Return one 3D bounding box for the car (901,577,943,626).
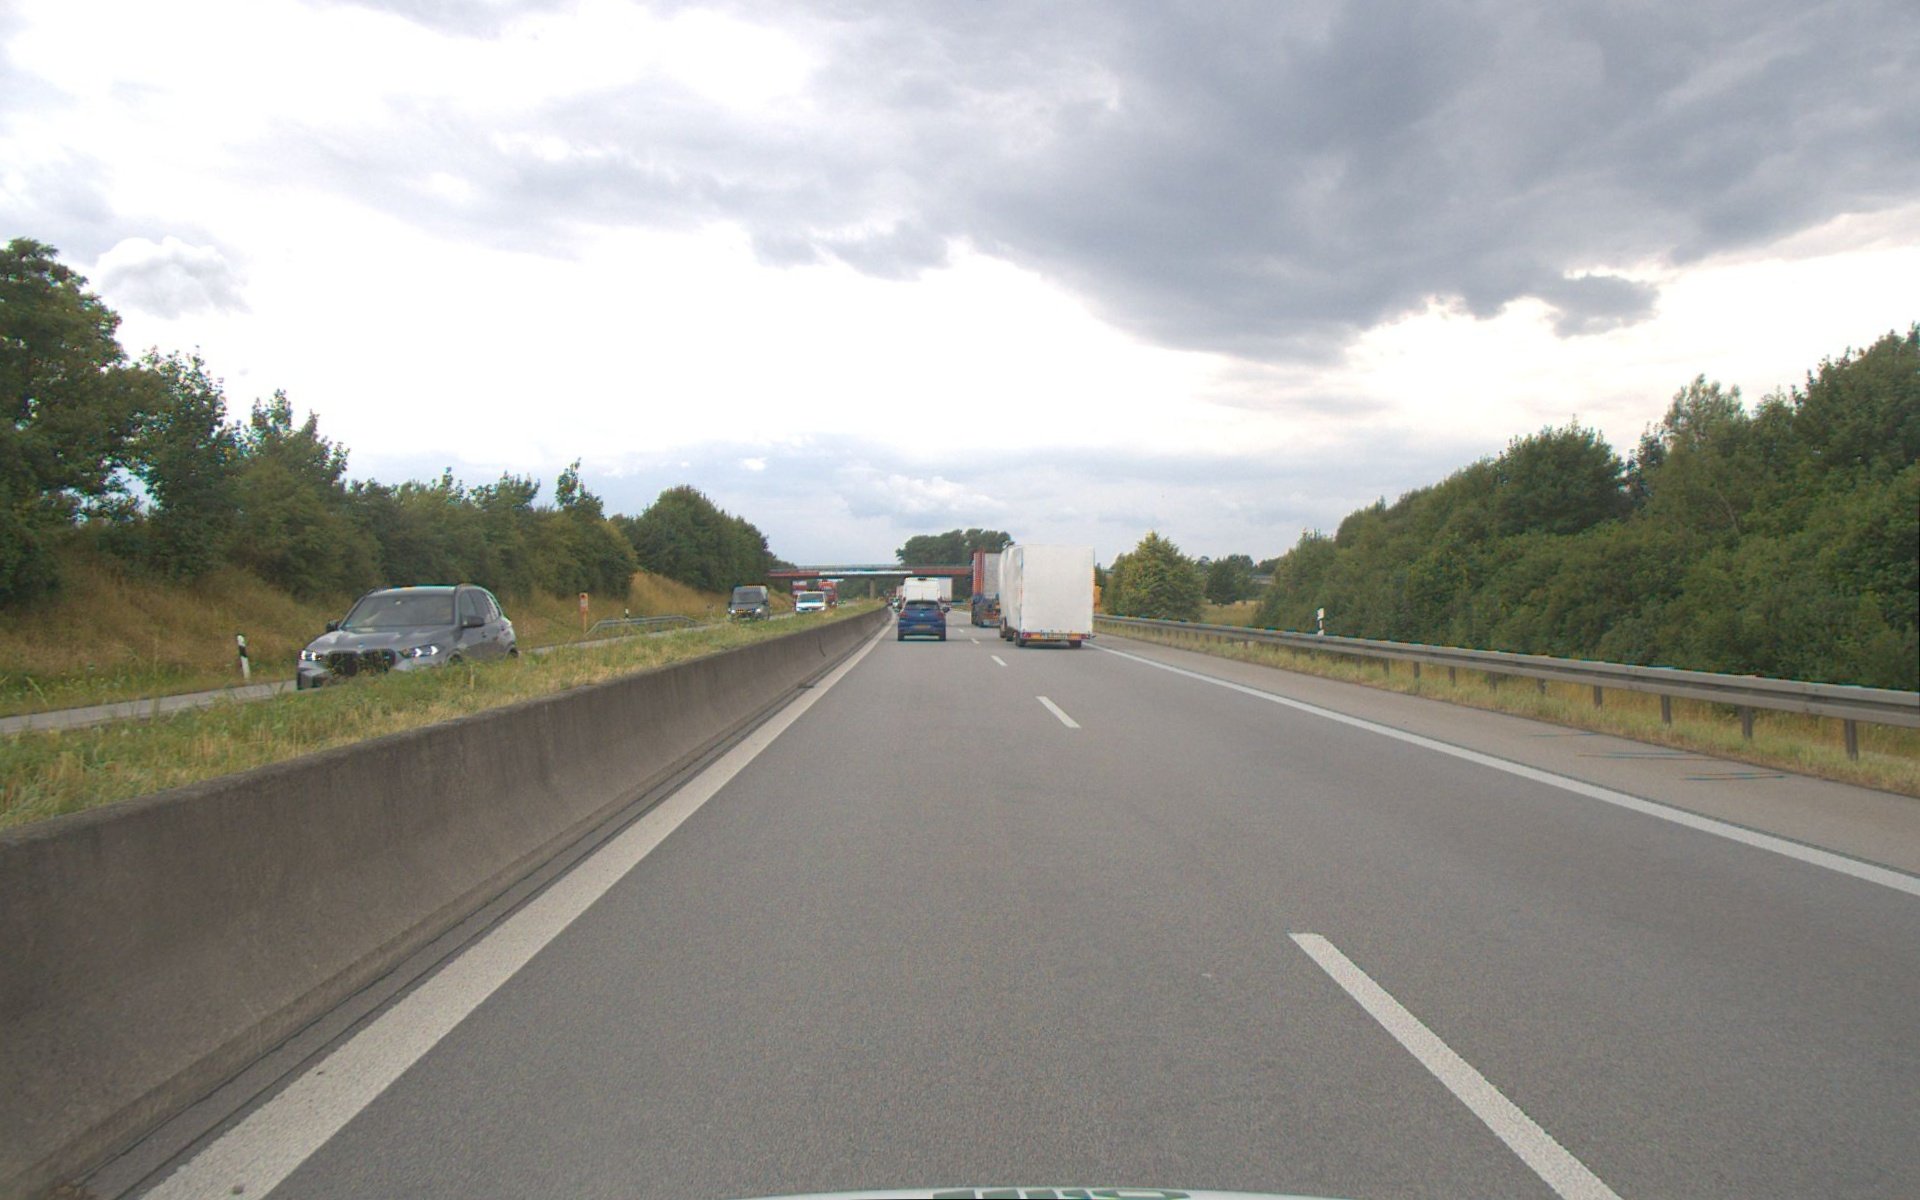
[{"bbox_3d":[-2.091,0.086,88.602,2.087,2.526,5.836,0,0,-3],"label":"car"}]

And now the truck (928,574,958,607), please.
[{"bbox_3d":[-2.115,-1.125,200.961,3.049,3.754,9.316,-2,0,-3],"label":"truck"}]

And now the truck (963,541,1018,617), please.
[{"bbox_3d":[1.693,-1.163,93.453,2.620,4.116,5.508,-1,0,-4],"label":"truck"}]

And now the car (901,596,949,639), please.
[{"bbox_3d":[-1.190,0.604,58.063,1.629,1.431,3.648,0,0,0],"label":"car"}]

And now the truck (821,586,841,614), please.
[{"bbox_3d":[-19.525,-0.007,250.712,2.652,4.160,5.162,-2,0,-3],"label":"truck"}]

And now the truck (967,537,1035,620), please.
[{"bbox_3d":[2.058,-1.114,88.058,2.620,4.116,11.099,-1,1,-4],"label":"truck"}]

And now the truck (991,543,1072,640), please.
[{"bbox_3d":[2.489,-0.293,59.764,2.381,3.300,7.244,0,0,-2],"label":"truck"}]

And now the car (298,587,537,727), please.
[{"bbox_3d":[-7.492,0.714,23.340,1.880,1.723,4.596,-2,0,-1],"label":"car"}]

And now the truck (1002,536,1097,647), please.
[{"bbox_3d":[2.747,-0.256,52.577,2.366,3.278,7.140,0,0,-2],"label":"truck"}]

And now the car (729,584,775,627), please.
[{"bbox_3d":[-13.087,0.348,104.554,2.126,2.508,6.721,-2,0,-2],"label":"car"}]

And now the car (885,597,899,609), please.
[{"bbox_3d":[-9.219,0.408,224.279,1.954,1.713,3.997,0,0,-3],"label":"car"}]

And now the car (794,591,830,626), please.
[{"bbox_3d":[-9.006,0.488,100.976,1.939,2.049,5.128,0,0,-2],"label":"car"}]

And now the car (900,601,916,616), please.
[{"bbox_3d":[-5.999,0.926,190.379,1.896,1.672,4.901,0,0,-2],"label":"car"}]
